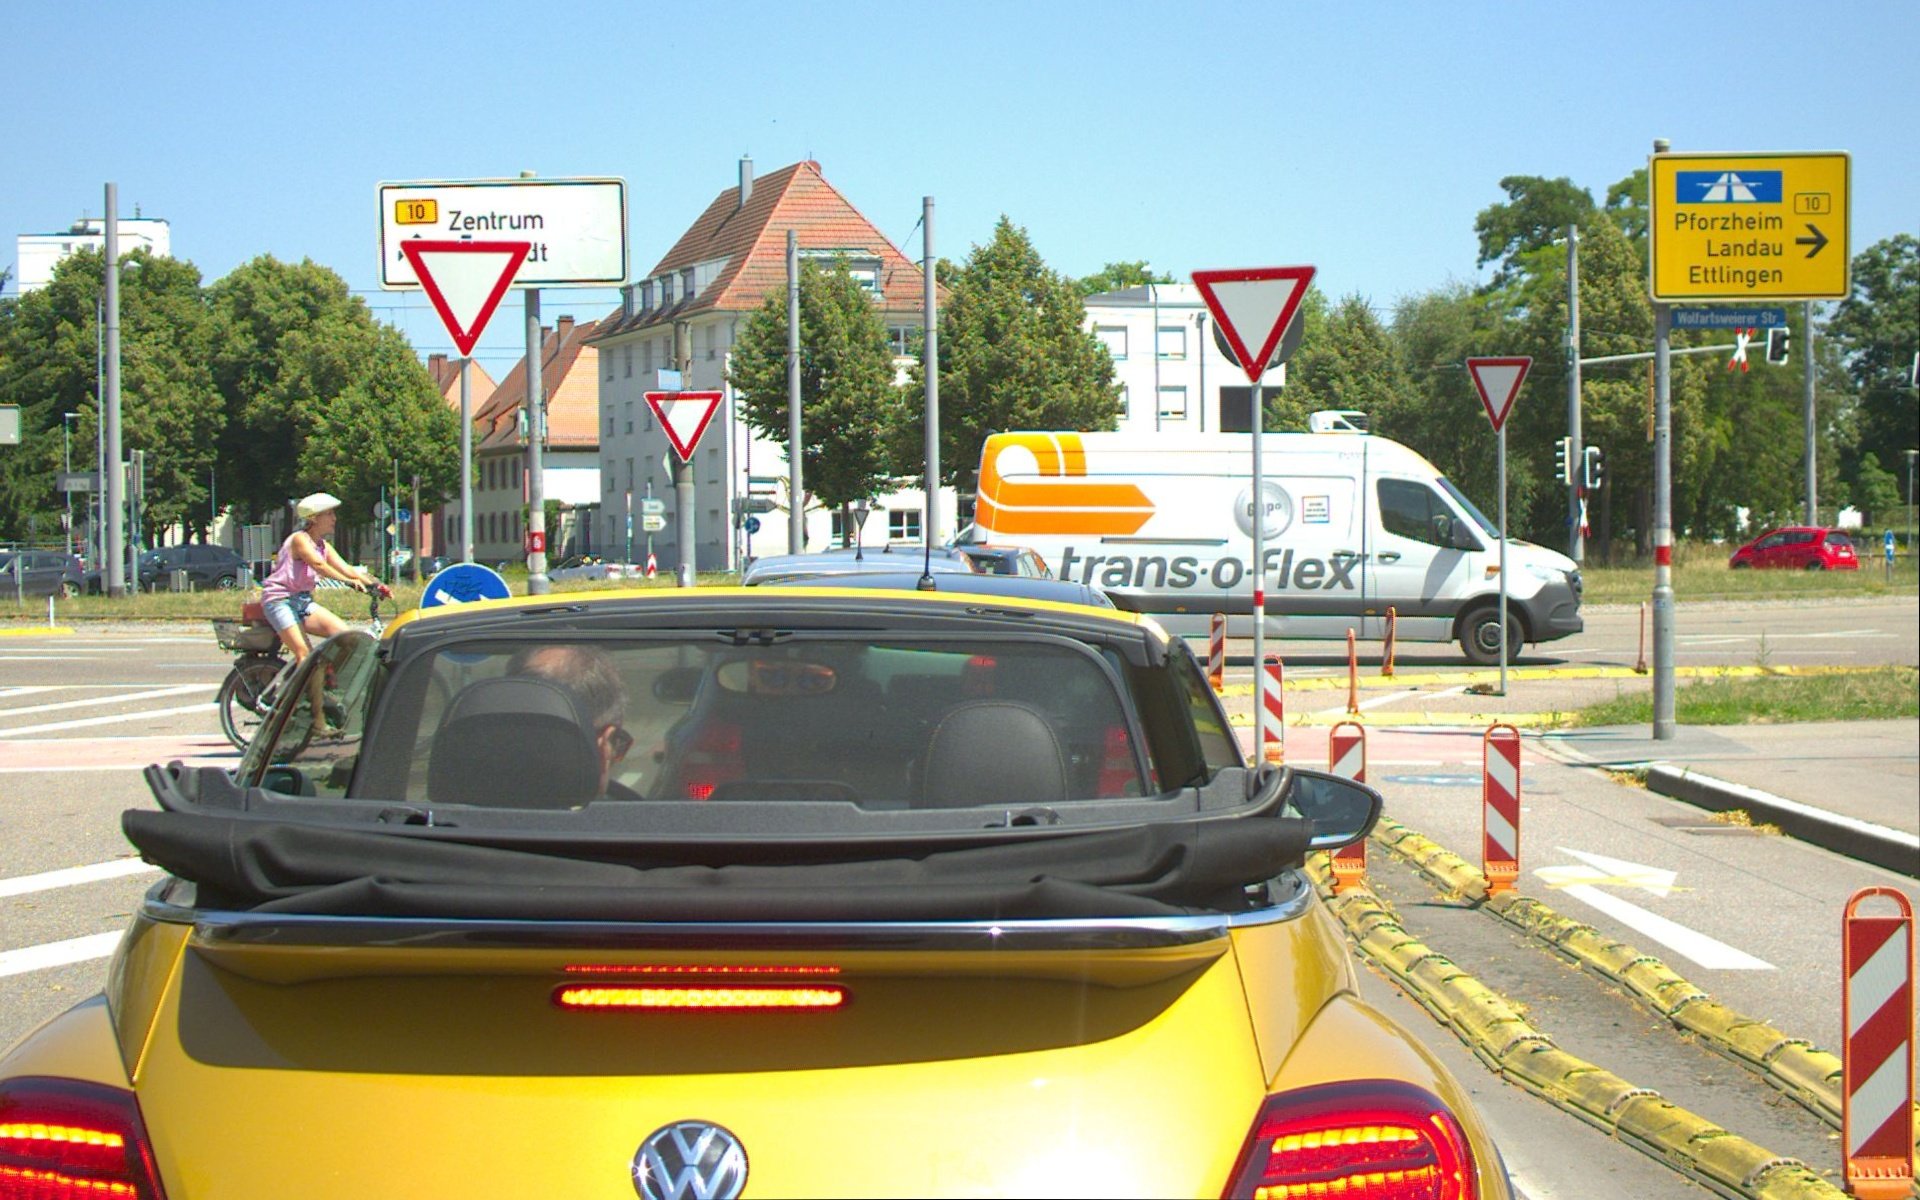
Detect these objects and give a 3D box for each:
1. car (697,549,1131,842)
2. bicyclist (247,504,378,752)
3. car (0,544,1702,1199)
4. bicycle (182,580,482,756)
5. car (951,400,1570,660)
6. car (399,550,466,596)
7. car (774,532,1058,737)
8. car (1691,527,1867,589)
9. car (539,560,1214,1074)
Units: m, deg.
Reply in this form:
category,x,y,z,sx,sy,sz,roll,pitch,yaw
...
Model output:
category,x,y,z,sx,sy,sz,roll,pitch,yaw
car,-0.251,0.435,18.602,2.065,1.377,4.258,1,1,-1
bicyclist,-4.646,0.194,24.690,0.670,1.746,0.592,-1,2,21
car,-0.273,0.676,5.108,1.765,1.476,4.258,1,1,-1
bicycle,-4.508,0.477,24.654,2.094,1.217,0.633,0,1,22
car,3.458,-0.807,39.293,6.864,2.818,1.999,1,0,9
car,-20.823,-1.087,135.707,1.884,1.766,4.001,1,1,-19
car,-0.351,0.206,27.574,2.065,1.476,4.543,-1,1,-1
car,22.595,-1.163,94.944,4.343,1.648,1.896,1,1,44
car,-0.255,0.578,11.662,1.851,1.361,4.258,-1,1,-1
